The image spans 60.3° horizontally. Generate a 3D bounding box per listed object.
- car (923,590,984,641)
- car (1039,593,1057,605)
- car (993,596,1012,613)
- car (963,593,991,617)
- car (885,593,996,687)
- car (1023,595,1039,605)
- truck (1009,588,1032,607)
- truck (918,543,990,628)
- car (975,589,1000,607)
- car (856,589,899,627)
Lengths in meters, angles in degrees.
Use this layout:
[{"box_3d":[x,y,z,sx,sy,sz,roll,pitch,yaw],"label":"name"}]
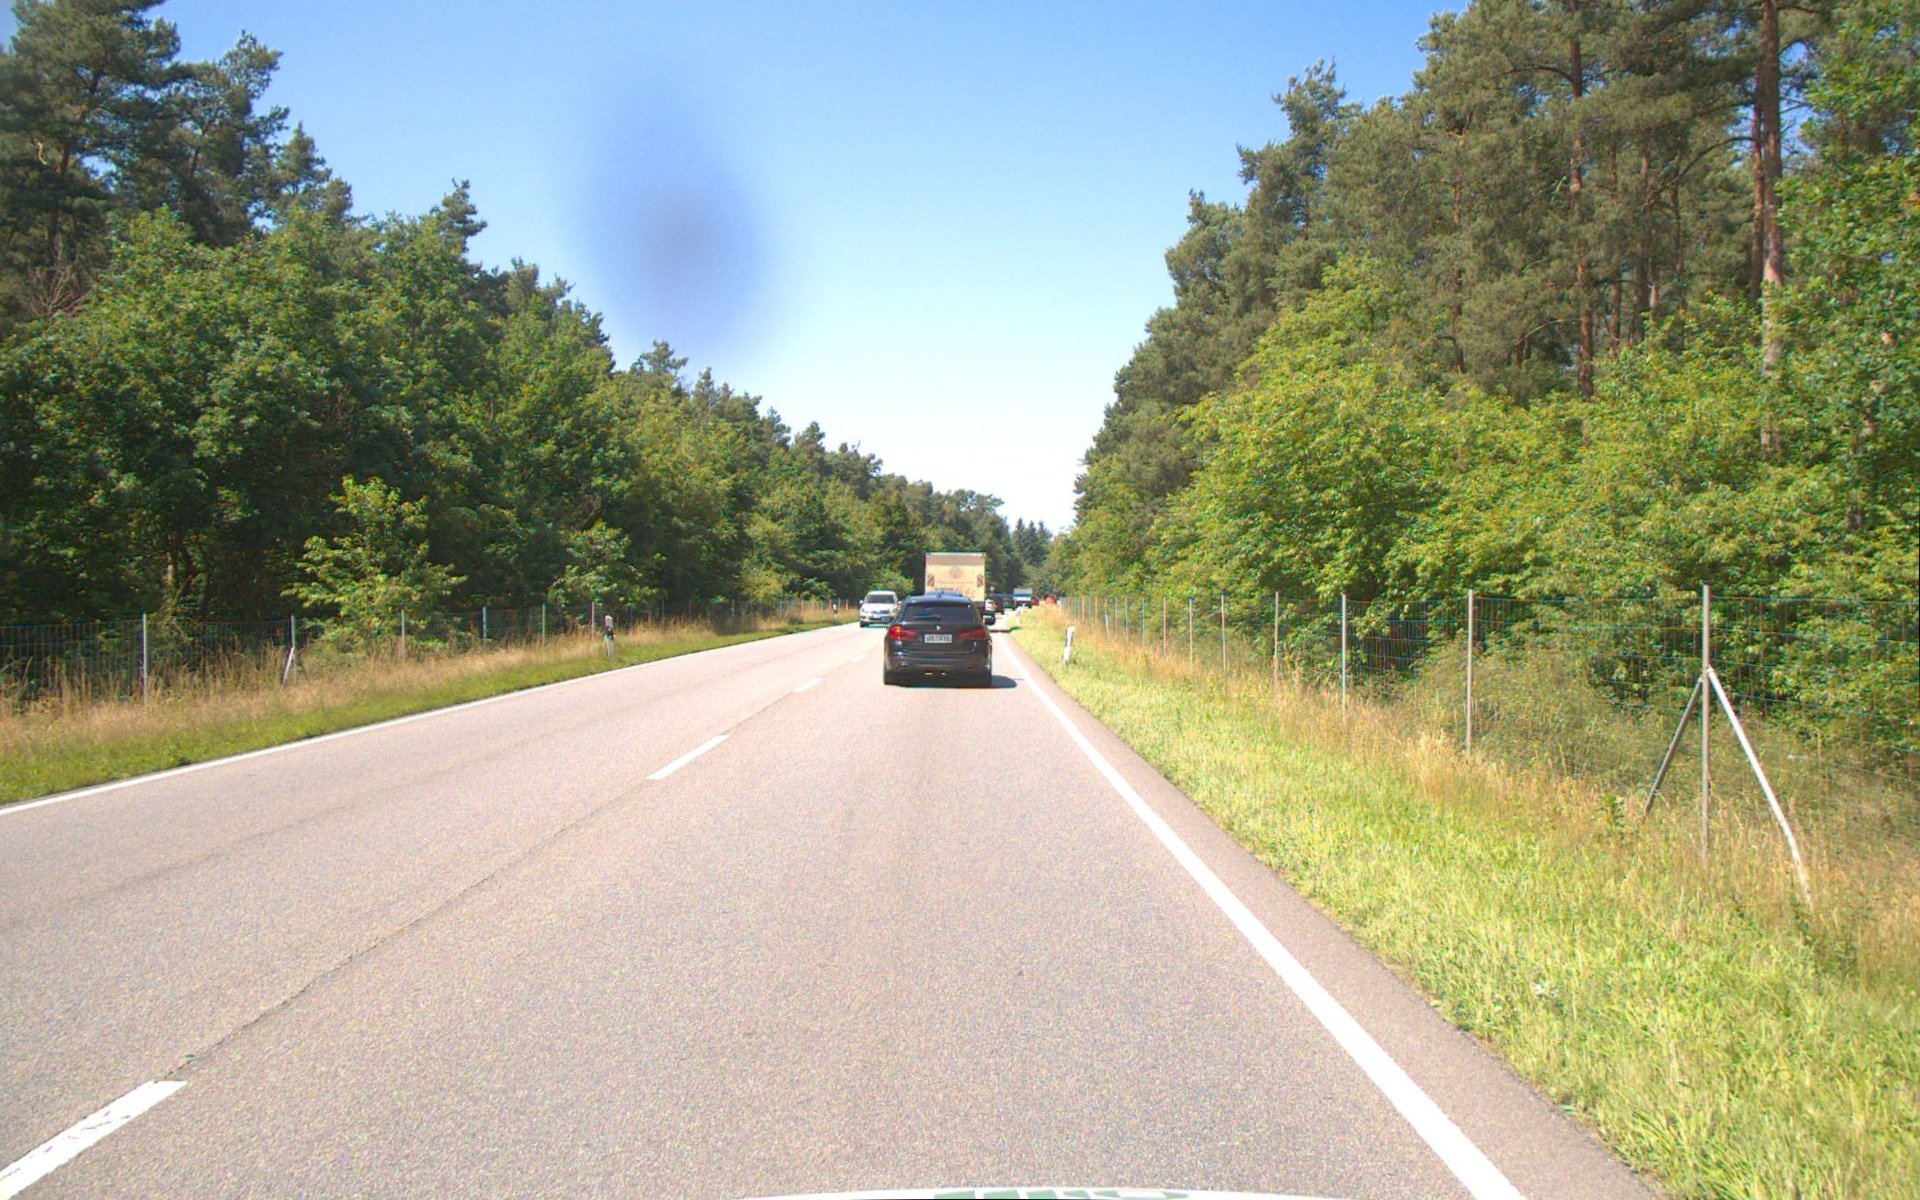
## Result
[{"box_3d":[-0.171,0.486,53.907,1.907,1.569,4.000,-1,0,1],"label":"car"},{"box_3d":[13.921,-0.183,261.661,2.297,1.918,4.636,0,0,9],"label":"car"},{"box_3d":[4.393,0.441,171.358,1.952,1.665,4.001,-1,0,2],"label":"car"},{"box_3d":[1.158,0.315,112.515,1.824,1.633,4.000,0,0,1],"label":"car"},{"box_3d":[-0.349,0.628,28.552,1.783,1.496,3.999,0,0,-1],"label":"car"},{"box_3d":[9.830,-0.027,228.778,1.756,1.378,3.932,0,0,8],"label":"car"},{"box_3d":[7.304,-0.314,198.290,2.509,2.241,4.977,0,0,5],"label":"truck"},{"box_3d":[-0.278,-0.622,71.179,2.905,3.447,6.437,-1,0,-1],"label":"truck"},{"box_3d":[2.268,-0.193,136.479,1.952,1.445,4.001,-1,0,1],"label":"car"},{"box_3d":[-3.789,0.345,76.671,1.825,1.657,4.092,0,1,-1],"label":"car"}]
